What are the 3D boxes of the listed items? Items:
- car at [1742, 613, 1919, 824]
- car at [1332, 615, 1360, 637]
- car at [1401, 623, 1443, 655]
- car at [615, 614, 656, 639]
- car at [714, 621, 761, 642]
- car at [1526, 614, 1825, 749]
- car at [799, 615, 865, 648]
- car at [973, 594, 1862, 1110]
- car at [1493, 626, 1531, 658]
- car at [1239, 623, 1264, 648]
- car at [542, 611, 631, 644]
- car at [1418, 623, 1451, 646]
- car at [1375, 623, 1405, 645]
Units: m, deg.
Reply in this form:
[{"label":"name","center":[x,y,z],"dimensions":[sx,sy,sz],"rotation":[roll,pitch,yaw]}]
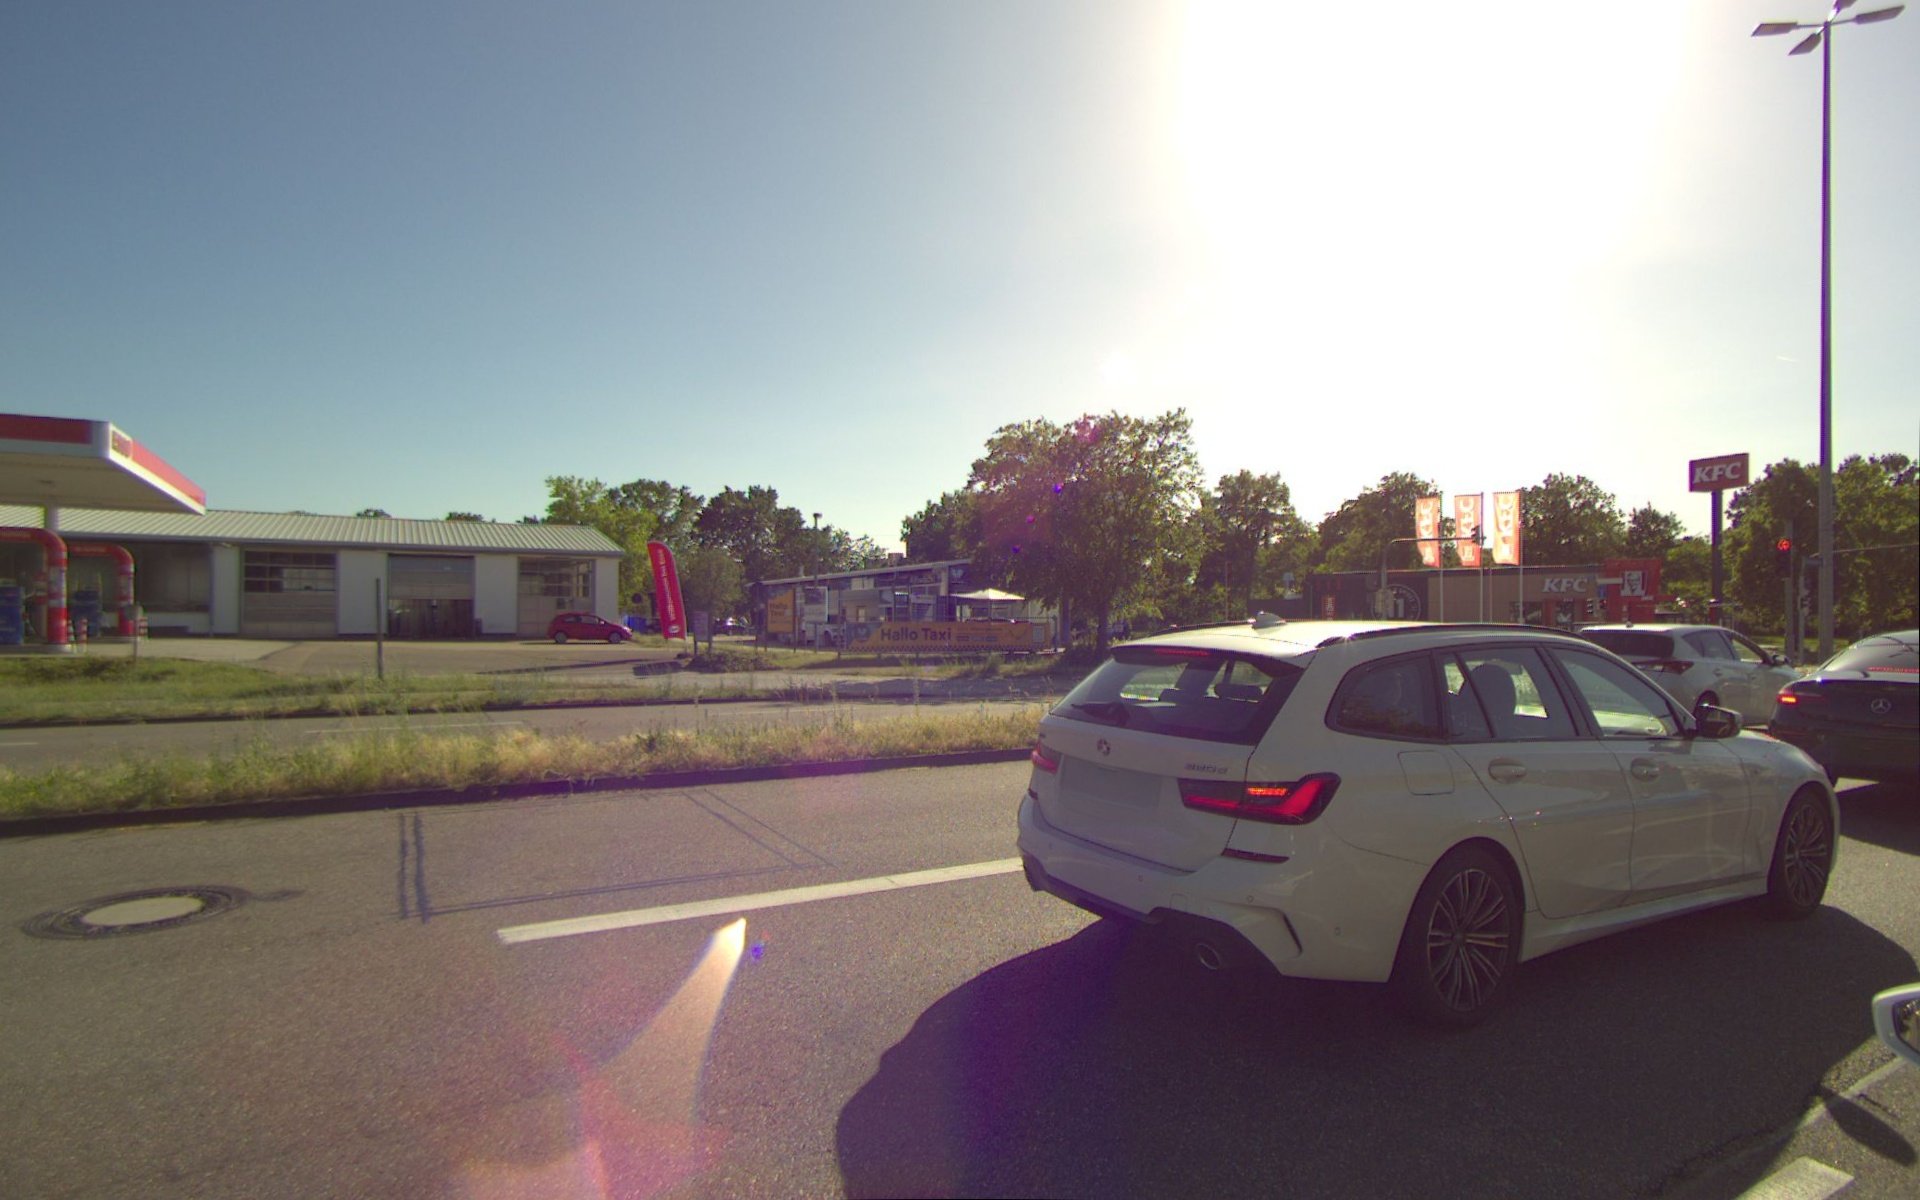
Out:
[{"label":"car","center":[8.772,0.934,8.631],"dimensions":[4.425,1.510,1.787],"rotation":[2,0,-31]},{"label":"car","center":[28.285,1.909,73.649],"dimensions":[1.629,1.491,3.919],"rotation":[2,0,18]},{"label":"car","center":[28.339,2.355,61.513],"dimensions":[1.964,1.788,4.349],"rotation":[2,0,29]},{"label":"car","center":[-19.310,1.563,59.716],"dimensions":[1.634,1.383,3.744],"rotation":[2,0,-29]},{"label":"car","center":[-19.394,2.743,87.591],"dimensions":[3.929,1.634,1.996],"rotation":[2,0,-11]},{"label":"car","center":[9.597,1.006,13.401],"dimensions":[4.150,1.510,1.750],"rotation":[2,0,-31]},{"label":"car","center":[-6.803,1.660,53.158],"dimensions":[1.978,1.584,3.964],"rotation":[2,0,-32]},{"label":"car","center":[2.381,0.801,4.867],"dimensions":[4.353,1.510,1.776],"rotation":[2,0,-31]},{"label":"car","center":[33.085,2.485,60.196],"dimensions":[1.880,1.776,4.349],"rotation":[2,0,29]},{"label":"car","center":[21.806,2.637,75.147],"dimensions":[1.629,1.695,3.945],"rotation":[2,0,18]},{"label":"car","center":[-18.352,1.350,49.398],"dimensions":[3.946,1.537,1.772],"rotation":[2,0,-25]},{"label":"car","center":[33.929,2.468,71.941],"dimensions":[1.629,1.491,3.919],"rotation":[2,0,18]},{"label":"car","center":[31.296,2.459,73.214],"dimensions":[1.629,1.491,3.919],"rotation":[2,0,18]}]
